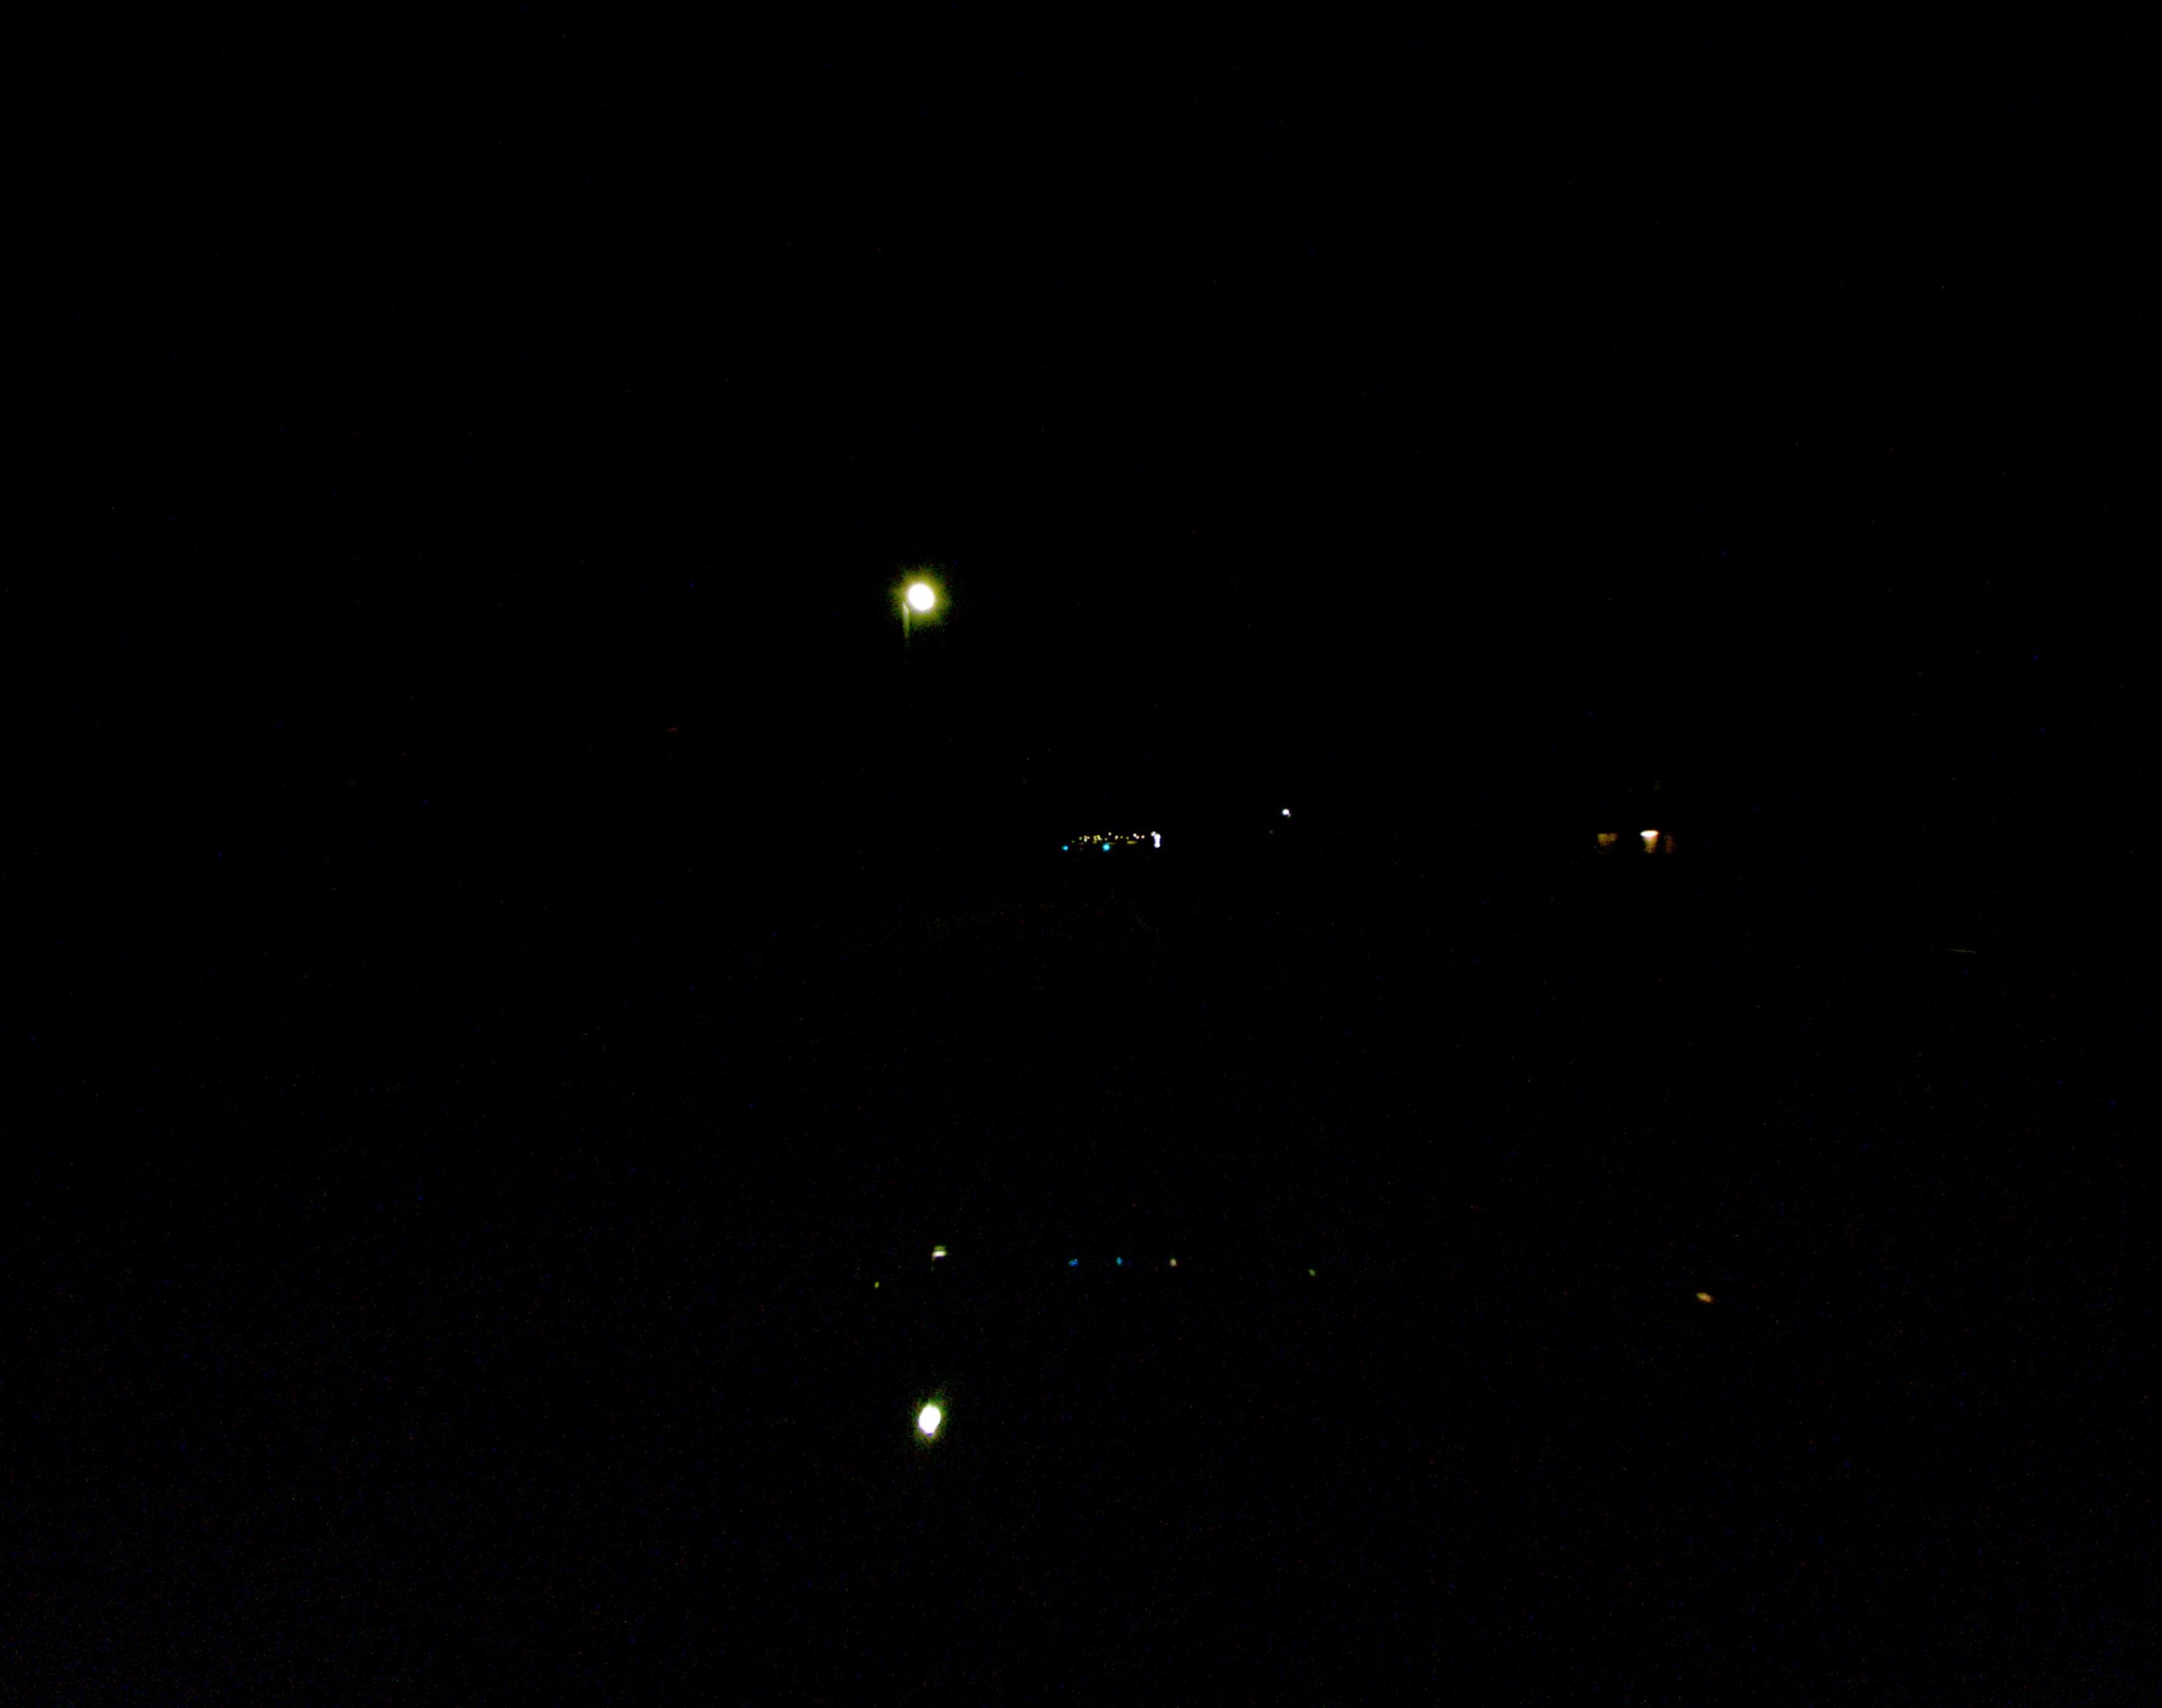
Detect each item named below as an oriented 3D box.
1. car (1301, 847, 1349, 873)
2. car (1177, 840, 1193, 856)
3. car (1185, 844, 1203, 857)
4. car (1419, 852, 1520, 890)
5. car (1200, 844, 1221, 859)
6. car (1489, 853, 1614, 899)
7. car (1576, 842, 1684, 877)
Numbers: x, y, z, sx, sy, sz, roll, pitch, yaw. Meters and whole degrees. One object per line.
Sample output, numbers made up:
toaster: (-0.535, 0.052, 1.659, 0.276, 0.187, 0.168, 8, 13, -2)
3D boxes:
car: (16.536, 0.391, 51.728, 1.768, 1.559, 4.693, 4, 0, 1)
car: (17.235, -0.986, 126.680, 2.164, 2.498, 4.721, 2, 1, 3)
car: (16.883, -0.542, 113.312, 2.124, 1.761, 4.721, 2, 1, 3)
car: (16.233, 0.650, 32.070, 1.904, 1.357, 4.984, 2, 1, 3)
car: (16.972, -0.351, 100.111, 2.124, 1.761, 4.721, 2, 1, 3)
car: (16.073, 0.700, 26.248, 1.732, 1.357, 4.145, 2, 1, 1)
car: (27.337, 0.257, 37.923, 3.997, 1.534, 1.889, -2, 1, -1)
